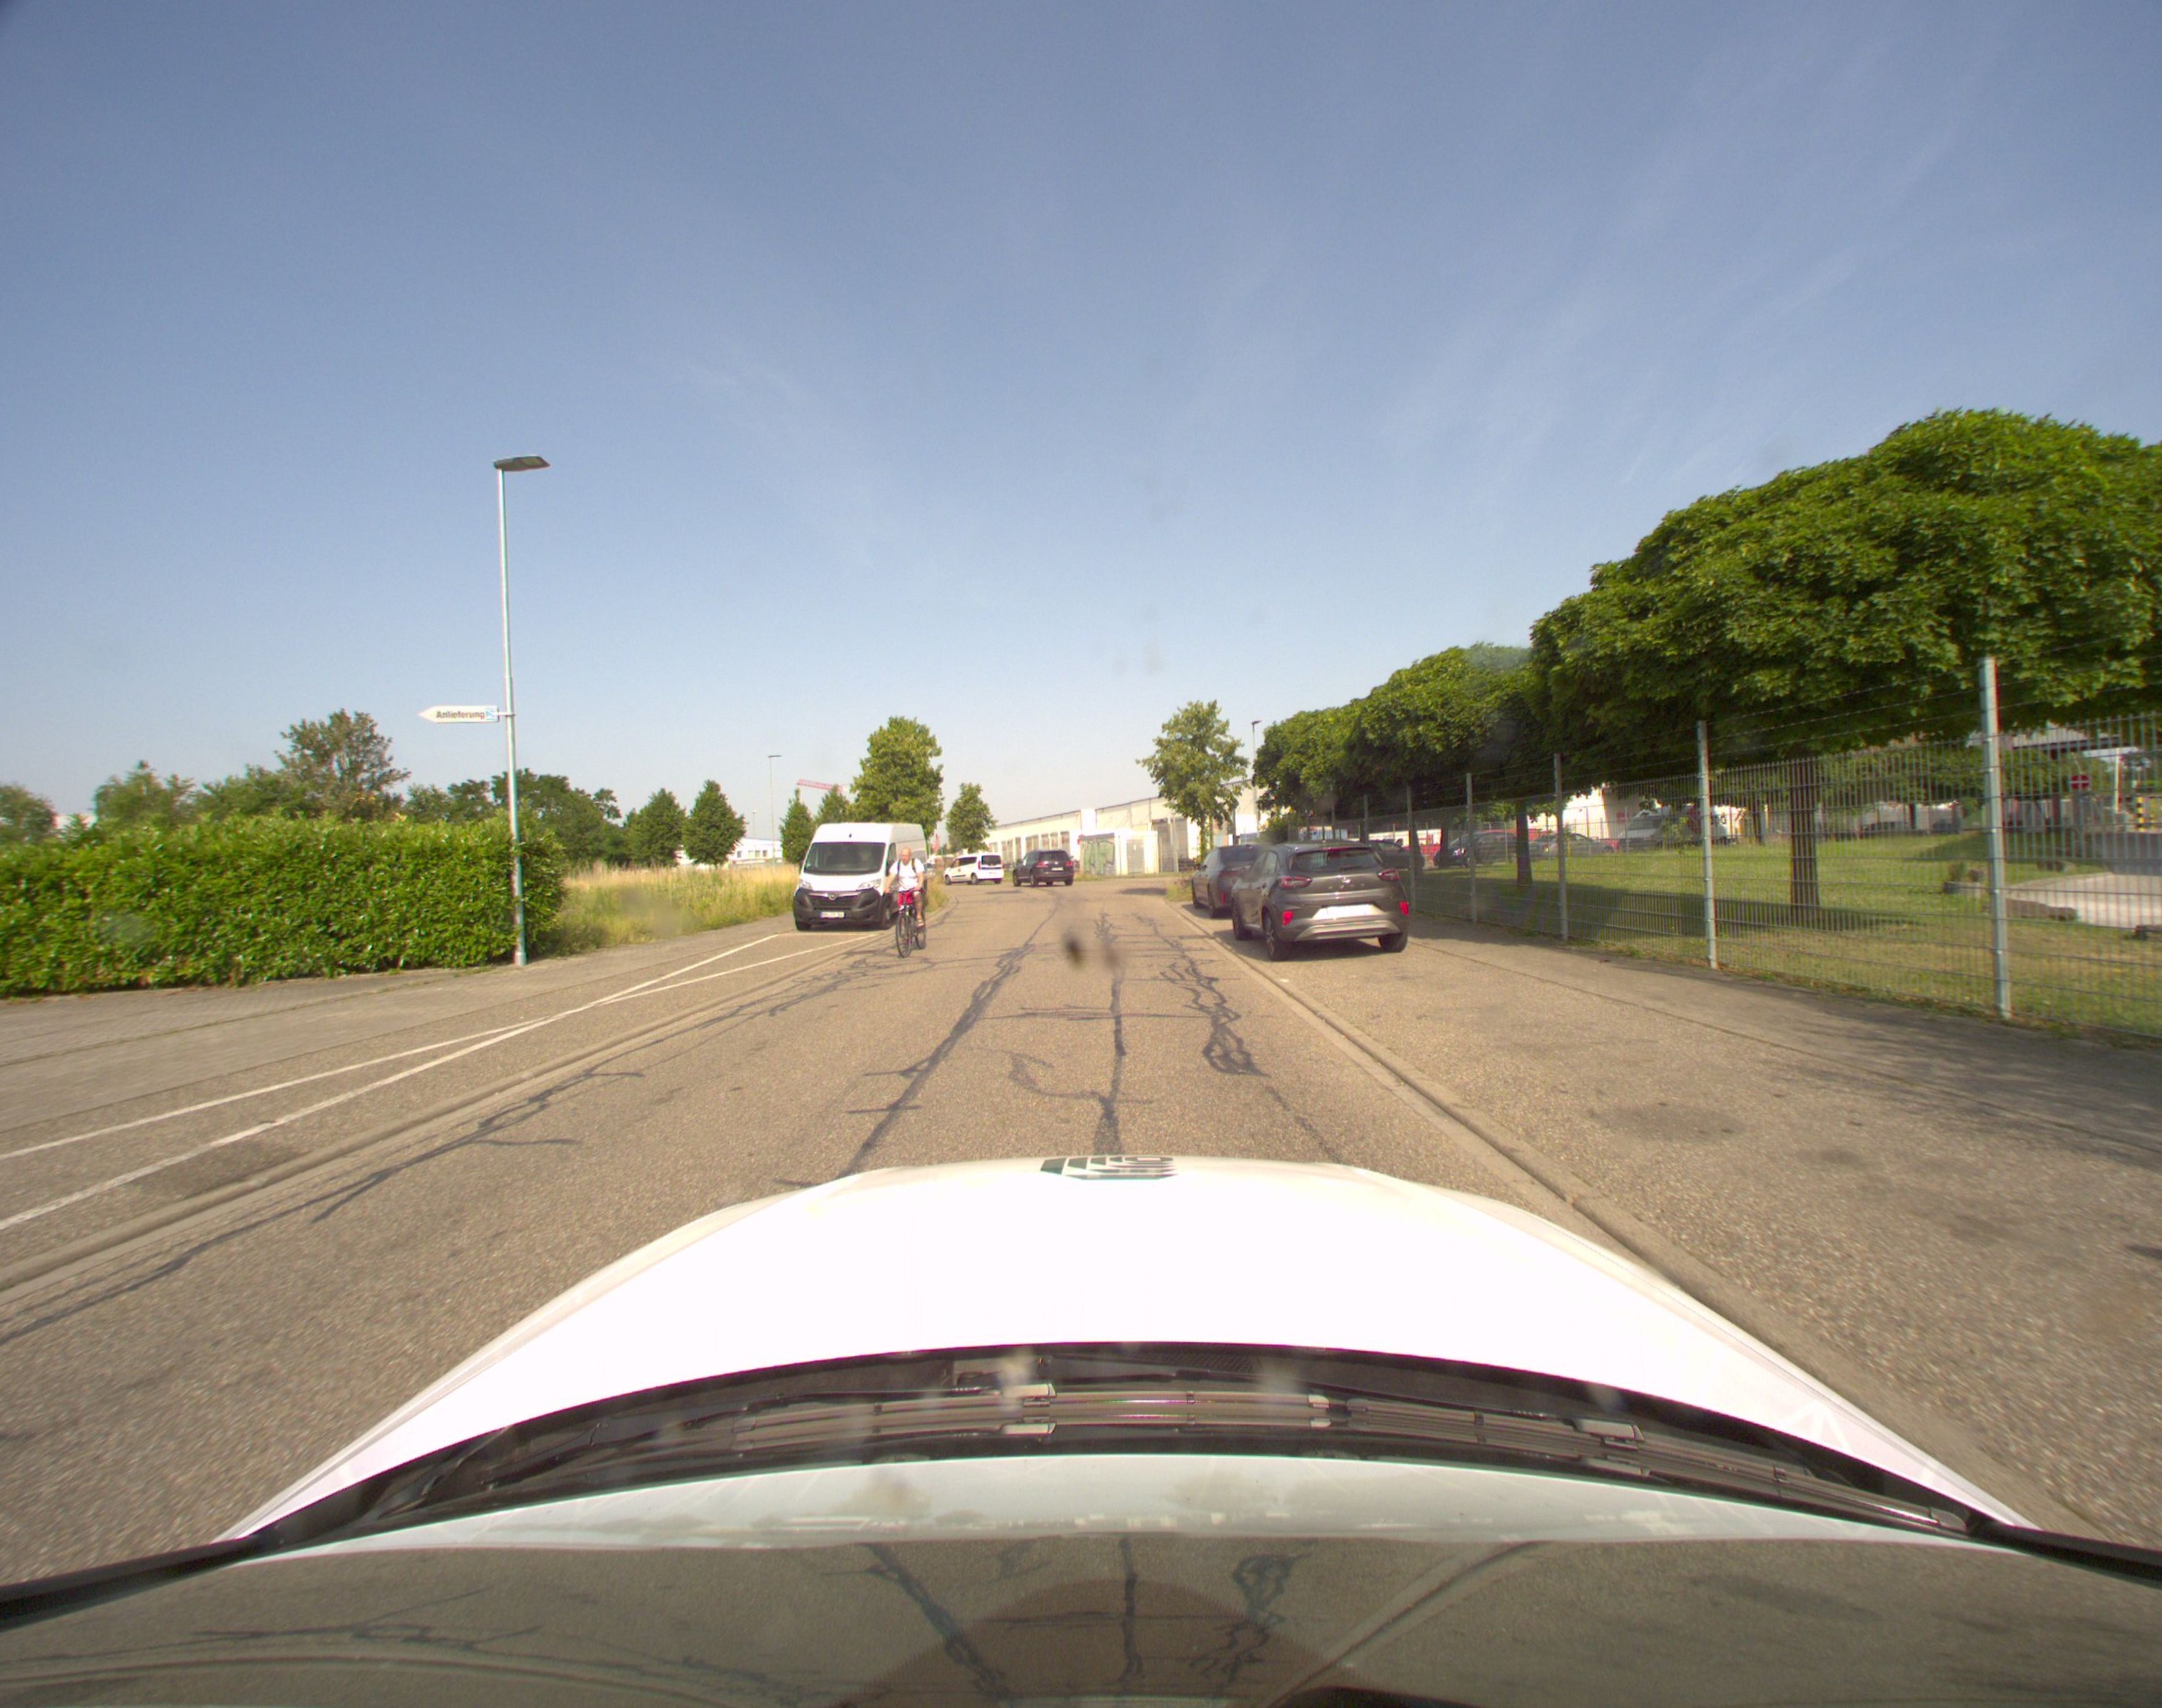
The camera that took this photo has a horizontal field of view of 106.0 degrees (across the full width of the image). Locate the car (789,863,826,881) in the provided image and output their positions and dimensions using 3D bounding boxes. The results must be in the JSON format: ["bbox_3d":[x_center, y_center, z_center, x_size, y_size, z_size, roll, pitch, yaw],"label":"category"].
[{"bbox_3d":[-25.691,1.703,76.367,1.730,1.515,3.954,-5,2,-43],"label":"car"}]

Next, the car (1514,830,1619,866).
[{"bbox_3d":[23.206,-0.287,38.930,4.491,1.518,1.717,-2,-2,-19],"label":"car"}]

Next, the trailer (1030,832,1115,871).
[{"bbox_3d":[-0.827,-0.265,83.989,8.342,3.893,2.755,0,0,-23],"label":"trailer"}]

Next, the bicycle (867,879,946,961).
[{"bbox_3d":[-2.881,1.058,13.686,0.713,1.122,2.220,-5,0,1],"label":"bicycle"}]

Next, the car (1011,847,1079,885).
[{"bbox_3d":[-1.749,0.577,38.064,1.889,1.586,4.082,-2,0,-23],"label":"car"}]

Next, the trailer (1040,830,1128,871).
[{"bbox_3d":[0.302,-0.325,81.139,8.342,3.893,2.755,0,0,-23],"label":"trailer"}]

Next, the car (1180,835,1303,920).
[{"bbox_3d":[3.538,0.489,18.933,1.874,1.574,5.120,-4,0,2],"label":"car"}]

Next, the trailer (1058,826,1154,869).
[{"bbox_3d":[2.350,-0.587,75.335,8.572,3.893,2.755,0,0,-23],"label":"trailer"}]

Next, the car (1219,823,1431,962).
[{"bbox_3d":[3.305,0.477,11.949,1.874,1.574,4.114,-4,0,1],"label":"car"}]

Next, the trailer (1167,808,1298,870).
[{"bbox_3d":[10.474,-1.033,56.195,8.566,3.894,2.756,-2,-2,-21],"label":"trailer"}]

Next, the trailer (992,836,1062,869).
[{"bbox_3d":[-6.560,-0.137,98.764,7.996,3.893,2.755,0,0,-23],"label":"trailer"}]

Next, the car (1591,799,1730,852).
[{"bbox_3d":[29.790,-1.465,41.854,6.846,2.483,2.194,-2,1,-19],"label":"car"}]

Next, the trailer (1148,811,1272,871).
[{"bbox_3d":[9.408,-0.986,59.156,8.569,3.893,2.756,-3,0,-21],"label":"trailer"}]

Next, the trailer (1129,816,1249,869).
[{"bbox_3d":[8.209,-0.904,61.831,8.768,3.761,2.769,-2,-1,-23],"label":"trailer"}]

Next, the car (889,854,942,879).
[{"bbox_3d":[-12.439,0.949,61.085,1.815,1.625,4.395,-5,2,-42],"label":"car"}]

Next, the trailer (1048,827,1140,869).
[{"bbox_3d":[1.270,-0.597,78.314,8.572,3.893,2.755,0,0,-23],"label":"trailer"}]

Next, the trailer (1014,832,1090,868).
[{"bbox_3d":[-3.225,-0.430,90.430,7.996,3.893,2.755,0,0,-23],"label":"trailer"}]

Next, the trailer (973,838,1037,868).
[{"bbox_3d":[-10.055,-0.121,108.144,7.996,3.893,2.755,0,0,-23],"label":"trailer"}]

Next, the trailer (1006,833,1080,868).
[{"bbox_3d":[-4.369,-0.363,93.198,7.996,3.893,2.755,0,0,-23],"label":"trailer"}]

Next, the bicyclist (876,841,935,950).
[{"bbox_3d":[-2.916,0.667,13.644,0.637,1.719,1.166,-3,0,1],"label":"bicyclist"}]

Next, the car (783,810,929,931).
[{"bbox_3d":[-5.430,0.340,20.730,2.096,2.595,6.499,0,0,-2],"label":"car"}]

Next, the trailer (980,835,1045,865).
[{"bbox_3d":[-8.819,-0.519,105.390,7.996,3.893,2.755,0,0,-23],"label":"trailer"}]

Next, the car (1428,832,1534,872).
[{"bbox_3d":[18.040,-0.128,36.734,4.270,1.625,1.865,-2,1,-21],"label":"car"}]

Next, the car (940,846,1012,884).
[{"bbox_3d":[-6.348,0.673,48.858,2.139,2.110,4.570,-2,-1,-39],"label":"car"}]

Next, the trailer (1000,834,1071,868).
[{"bbox_3d":[-5.339,-0.317,96.008,7.996,3.893,2.755,0,0,-23],"label":"trailer"}]

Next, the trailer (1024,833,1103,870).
[{"bbox_3d":[-1.899,-0.280,87.775,8.067,3.893,2.755,0,0,-23],"label":"trailer"}]
